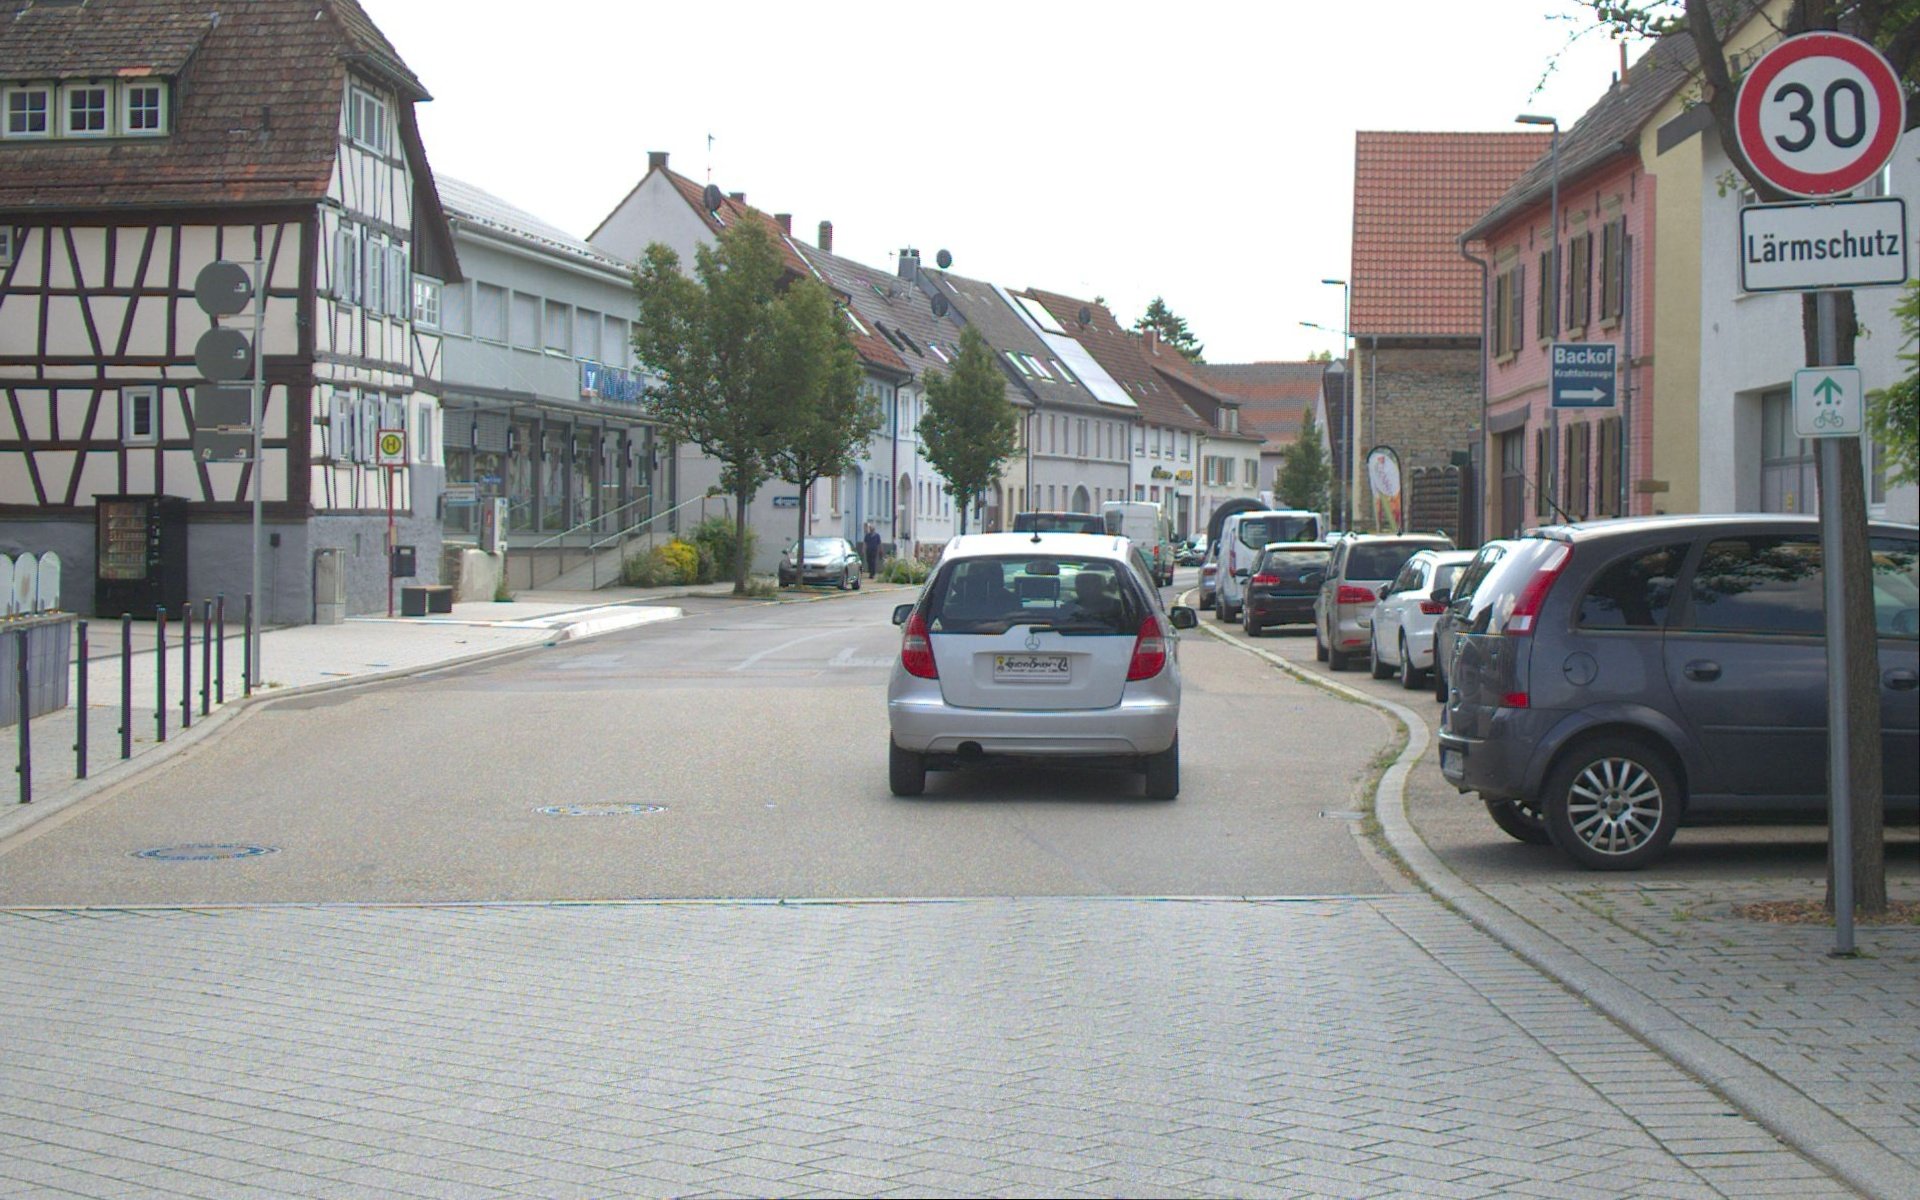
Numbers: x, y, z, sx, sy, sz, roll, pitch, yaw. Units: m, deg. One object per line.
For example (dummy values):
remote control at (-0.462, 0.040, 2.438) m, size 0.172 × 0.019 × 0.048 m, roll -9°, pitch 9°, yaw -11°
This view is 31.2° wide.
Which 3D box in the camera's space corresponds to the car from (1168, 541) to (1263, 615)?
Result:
car at (5.450, -0.497, 73.765) m, size 1.875 × 1.476 × 4.674 m, roll 1°, pitch 1°, yaw 3°

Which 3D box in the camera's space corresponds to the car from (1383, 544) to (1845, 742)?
car at (5.295, 0.305, 27.872) m, size 3.225 × 1.499 × 1.827 m, roll -1°, pitch 1°, yaw -26°

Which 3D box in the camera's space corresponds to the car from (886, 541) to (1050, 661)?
car at (0.146, -0.024, 43.562) m, size 1.945 × 1.402 × 4.000 m, roll 1°, pitch 1°, yaw 2°

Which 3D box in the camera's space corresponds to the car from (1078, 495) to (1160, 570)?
car at (4.821, -2.008, 103.543) m, size 2.236 × 2.214 × 3.999 m, roll 0°, pitch 0°, yaw 6°

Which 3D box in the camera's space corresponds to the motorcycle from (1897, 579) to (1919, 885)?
motorcycle at (4.427, 0.566, 13.716) m, size 0.628 × 1.294 × 2.183 m, roll -1°, pitch 1°, yaw -4°

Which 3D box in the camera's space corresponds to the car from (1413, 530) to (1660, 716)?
car at (5.312, 0.157, 32.151) m, size 1.662 × 1.619 × 4.272 m, roll 0°, pitch 1°, yaw 1°

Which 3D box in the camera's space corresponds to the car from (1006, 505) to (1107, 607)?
car at (1.951, -0.875, 68.355) m, size 1.769 × 1.881 × 4.446 m, roll 3°, pitch 1°, yaw 3°

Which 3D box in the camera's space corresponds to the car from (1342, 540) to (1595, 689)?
car at (5.474, 0.114, 37.528) m, size 1.993 × 1.512 × 4.372 m, roll 0°, pitch 1°, yaw -2°

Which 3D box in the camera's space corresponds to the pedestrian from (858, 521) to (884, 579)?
pedestrian at (-2.768, -1.542, 106.662) m, size 0.739 × 1.795 × 0.642 m, roll 0°, pitch 0°, yaw 4°

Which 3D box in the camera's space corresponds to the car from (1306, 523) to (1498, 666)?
car at (5.412, -0.114, 42.569) m, size 1.994 × 1.675 × 4.323 m, roll 0°, pitch 1°, yaw 3°

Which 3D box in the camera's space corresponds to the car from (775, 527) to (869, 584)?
car at (-3.675, -1.207, 91.907) m, size 1.805 × 1.455 × 4.157 m, roll 1°, pitch 1°, yaw 8°

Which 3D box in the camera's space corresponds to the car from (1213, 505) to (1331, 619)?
car at (5.761, -0.738, 63.895) m, size 1.892 × 1.975 × 4.931 m, roll -2°, pitch 1°, yaw 3°

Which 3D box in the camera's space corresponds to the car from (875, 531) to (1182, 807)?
car at (0.424, 0.369, 21.993) m, size 1.769 × 1.589 × 4.000 m, roll -1°, pitch 1°, yaw 1°

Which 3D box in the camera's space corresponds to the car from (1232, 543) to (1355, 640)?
car at (5.386, -0.168, 55.924) m, size 1.775 × 1.490 × 4.161 m, roll 0°, pitch 1°, yaw 3°

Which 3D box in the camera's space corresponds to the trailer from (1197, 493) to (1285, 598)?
trailer at (6.405, -1.265, 78.641) m, size 1.845 × 2.346 × 3.589 m, roll 0°, pitch 1°, yaw 2°

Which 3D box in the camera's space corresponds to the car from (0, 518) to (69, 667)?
car at (-10.725, -0.107, 35.070) m, size 1.758 × 1.487 × 4.275 m, roll 4°, pitch 2°, yaw 5°

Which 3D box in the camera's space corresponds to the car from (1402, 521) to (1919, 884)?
car at (4.176, 0.424, 16.395) m, size 3.848 × 1.572 × 1.851 m, roll -1°, pitch 1°, yaw -1°

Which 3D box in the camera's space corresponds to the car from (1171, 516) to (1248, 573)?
car at (7.066, -1.601, 97.799) m, size 1.993 × 1.554 × 4.000 m, roll -1°, pitch 1°, yaw 2°
